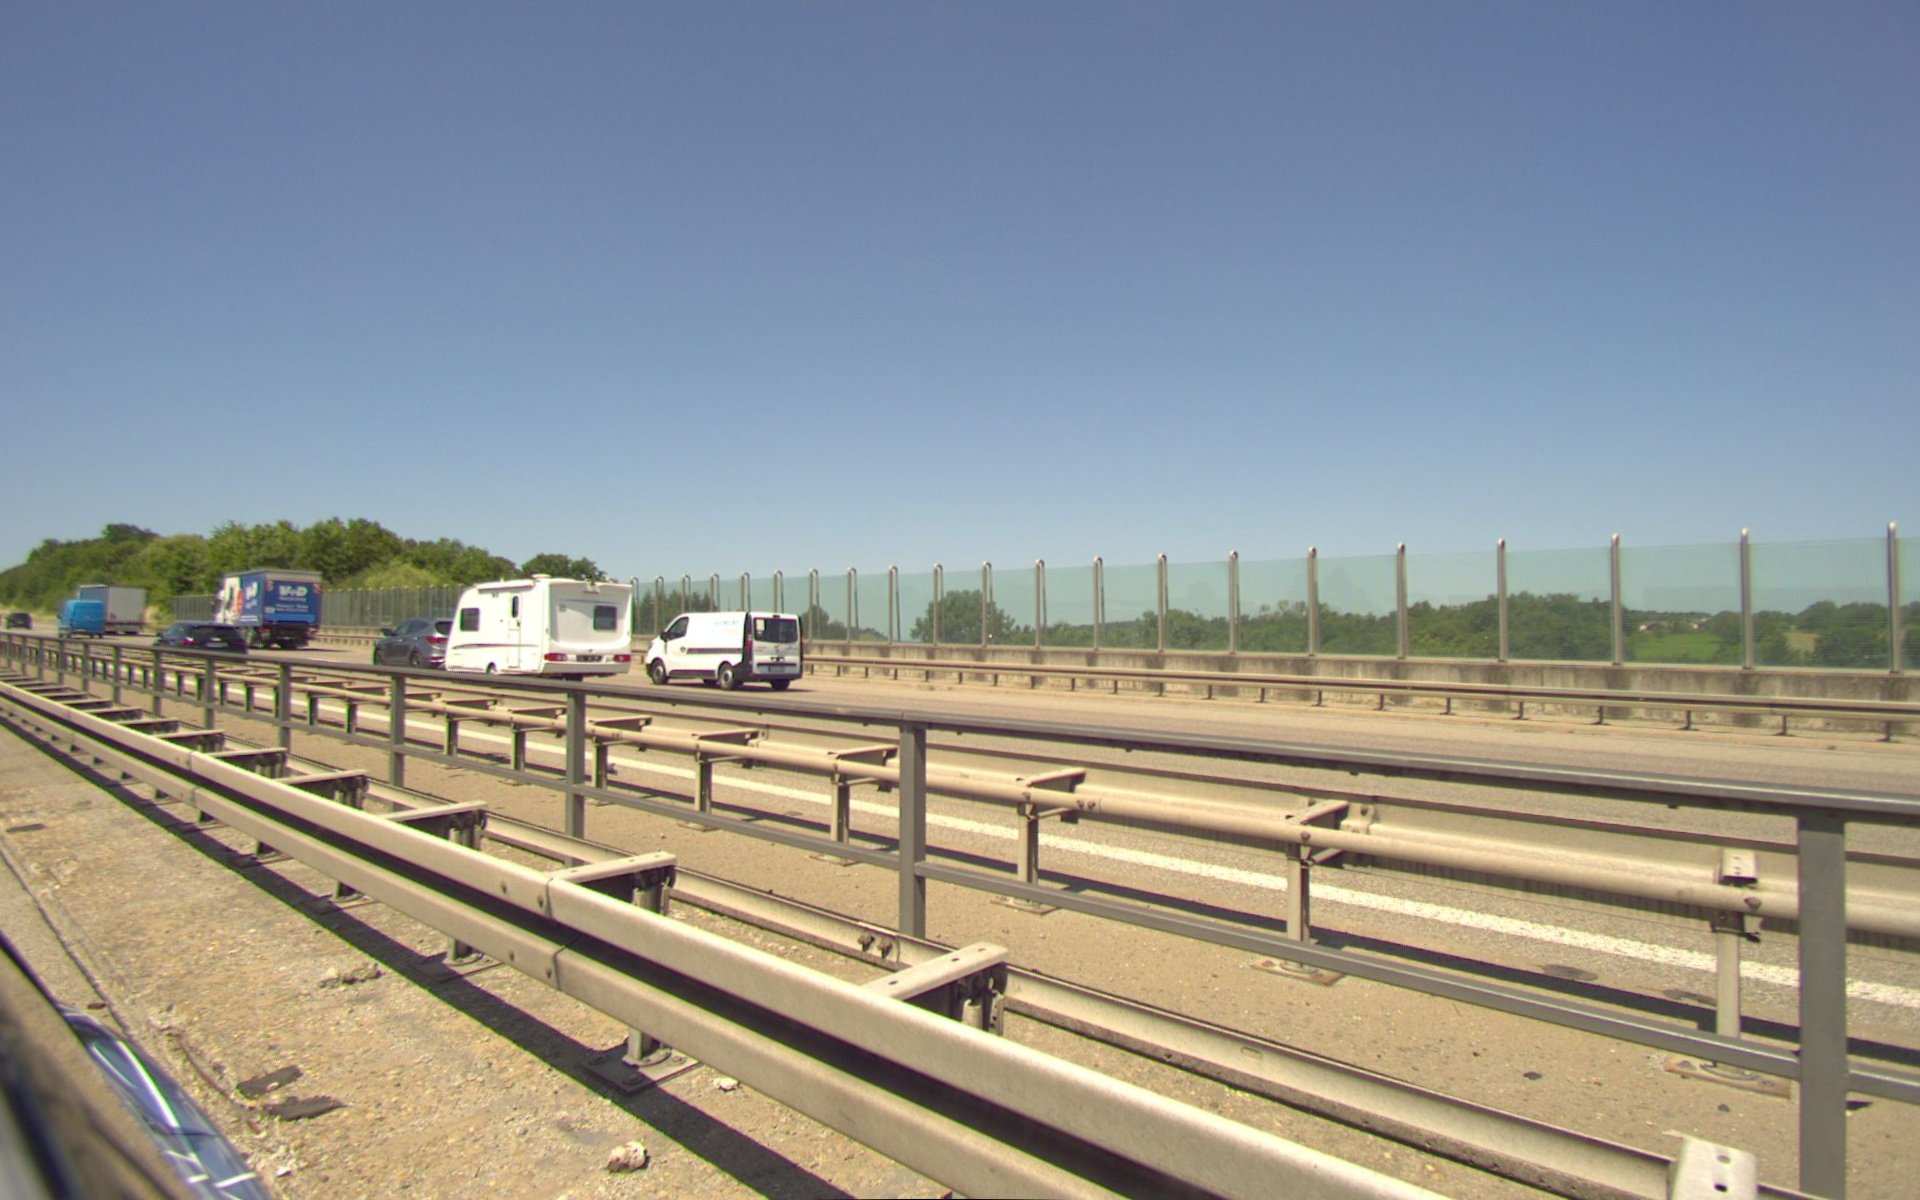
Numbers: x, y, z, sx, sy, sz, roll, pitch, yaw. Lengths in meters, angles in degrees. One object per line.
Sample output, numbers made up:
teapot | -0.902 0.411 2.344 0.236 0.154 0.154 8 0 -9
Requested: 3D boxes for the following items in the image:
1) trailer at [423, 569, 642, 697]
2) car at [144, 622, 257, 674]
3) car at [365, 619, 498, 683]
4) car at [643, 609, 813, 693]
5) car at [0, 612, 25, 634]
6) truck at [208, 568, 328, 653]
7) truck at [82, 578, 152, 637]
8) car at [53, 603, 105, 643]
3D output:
trailer | -10.518 0.796 24.596 6.358 2.727 2.292 -1 -4 41
car | -22.510 1.401 29.935 3.998 1.405 1.829 -1 -4 41
car | -14.670 1.380 28.017 4.266 1.654 1.783 -1 -4 41
car | -6.080 1.299 26.268 4.487 1.999 2.013 -1 -4 41
car | -94.502 2.287 100.443 4.238 2.086 1.961 -1 -3 41
truck | -36.988 0.594 53.884 9.987 4.117 2.839 -1 -3 42
truck | -69.777 0.682 83.689 9.987 4.575 2.839 -1 -3 42
car | -60.391 1.596 69.329 5.035 2.610 1.961 -1 -3 41
